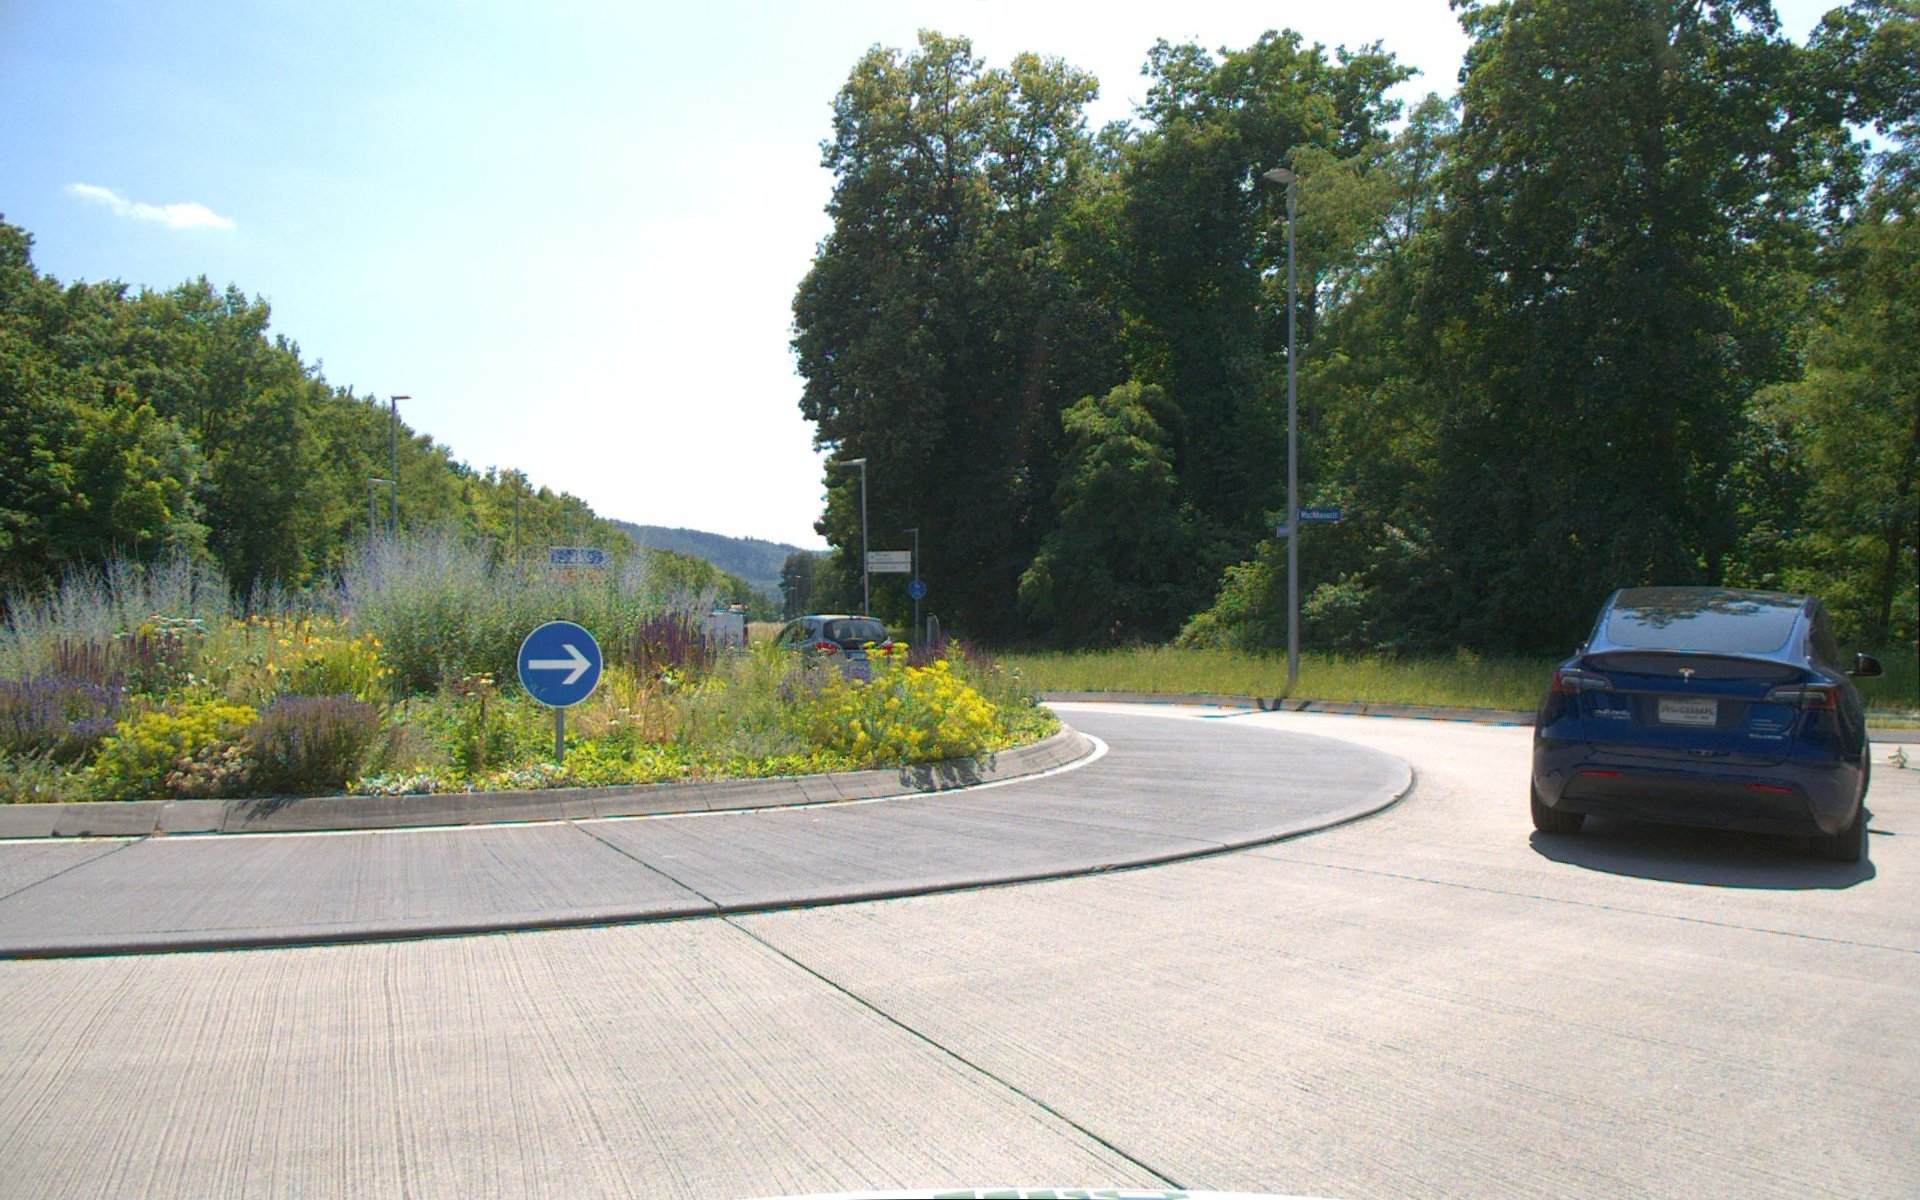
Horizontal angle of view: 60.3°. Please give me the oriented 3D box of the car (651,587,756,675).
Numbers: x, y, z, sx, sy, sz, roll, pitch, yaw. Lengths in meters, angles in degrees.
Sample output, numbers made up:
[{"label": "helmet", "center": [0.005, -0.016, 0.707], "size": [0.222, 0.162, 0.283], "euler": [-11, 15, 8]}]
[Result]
[{"label": "car", "center": [-7.303, 0.884, 46.729], "size": [2.133, 2.357, 4.954], "euler": [1, -1, -19]}]

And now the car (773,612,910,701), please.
[{"label": "car", "center": [-2.418, 1.088, 32.688], "size": [1.757, 1.635, 4.105], "euler": [1, -1, -18]}]

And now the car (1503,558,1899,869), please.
[{"label": "car", "center": [5.308, 0.634, 11.451], "size": [1.957, 1.668, 4.746], "euler": [-1, -1, 31]}]

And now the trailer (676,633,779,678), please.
[{"label": "trailer", "center": [-6.065, 1.423, 42.840], "size": [2.089, 1.117, 3.337], "euler": [1, -1, -18]}]
